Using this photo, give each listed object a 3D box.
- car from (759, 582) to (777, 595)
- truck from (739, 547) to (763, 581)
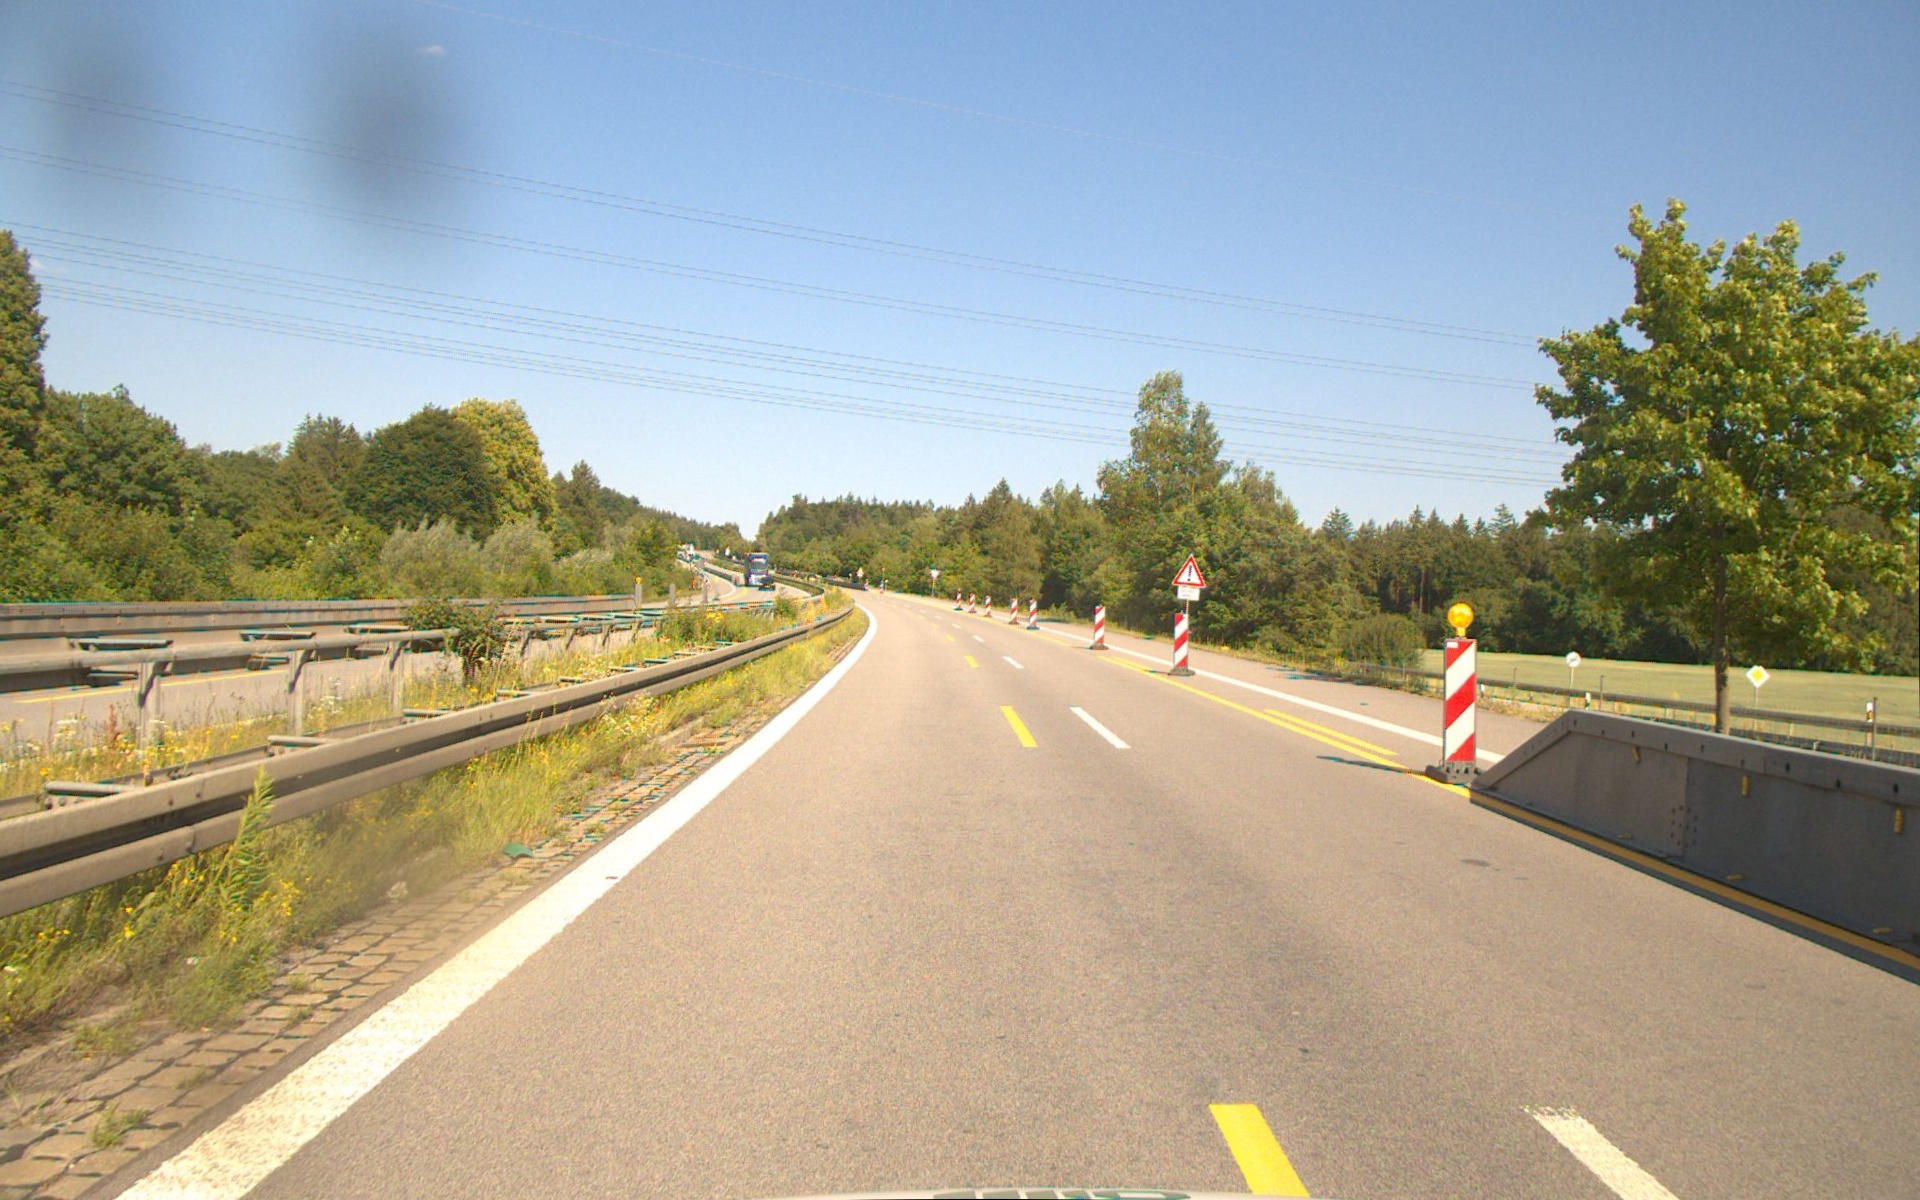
[{"bbox_3d":[-20.800,-1.249,179.475,1.742,1.454,4.265,1,1,-5],"label":"car"},{"bbox_3d":[-25.639,-4.413,202.834,2.581,4.028,5.836,1,0,-5],"label":"truck"}]
